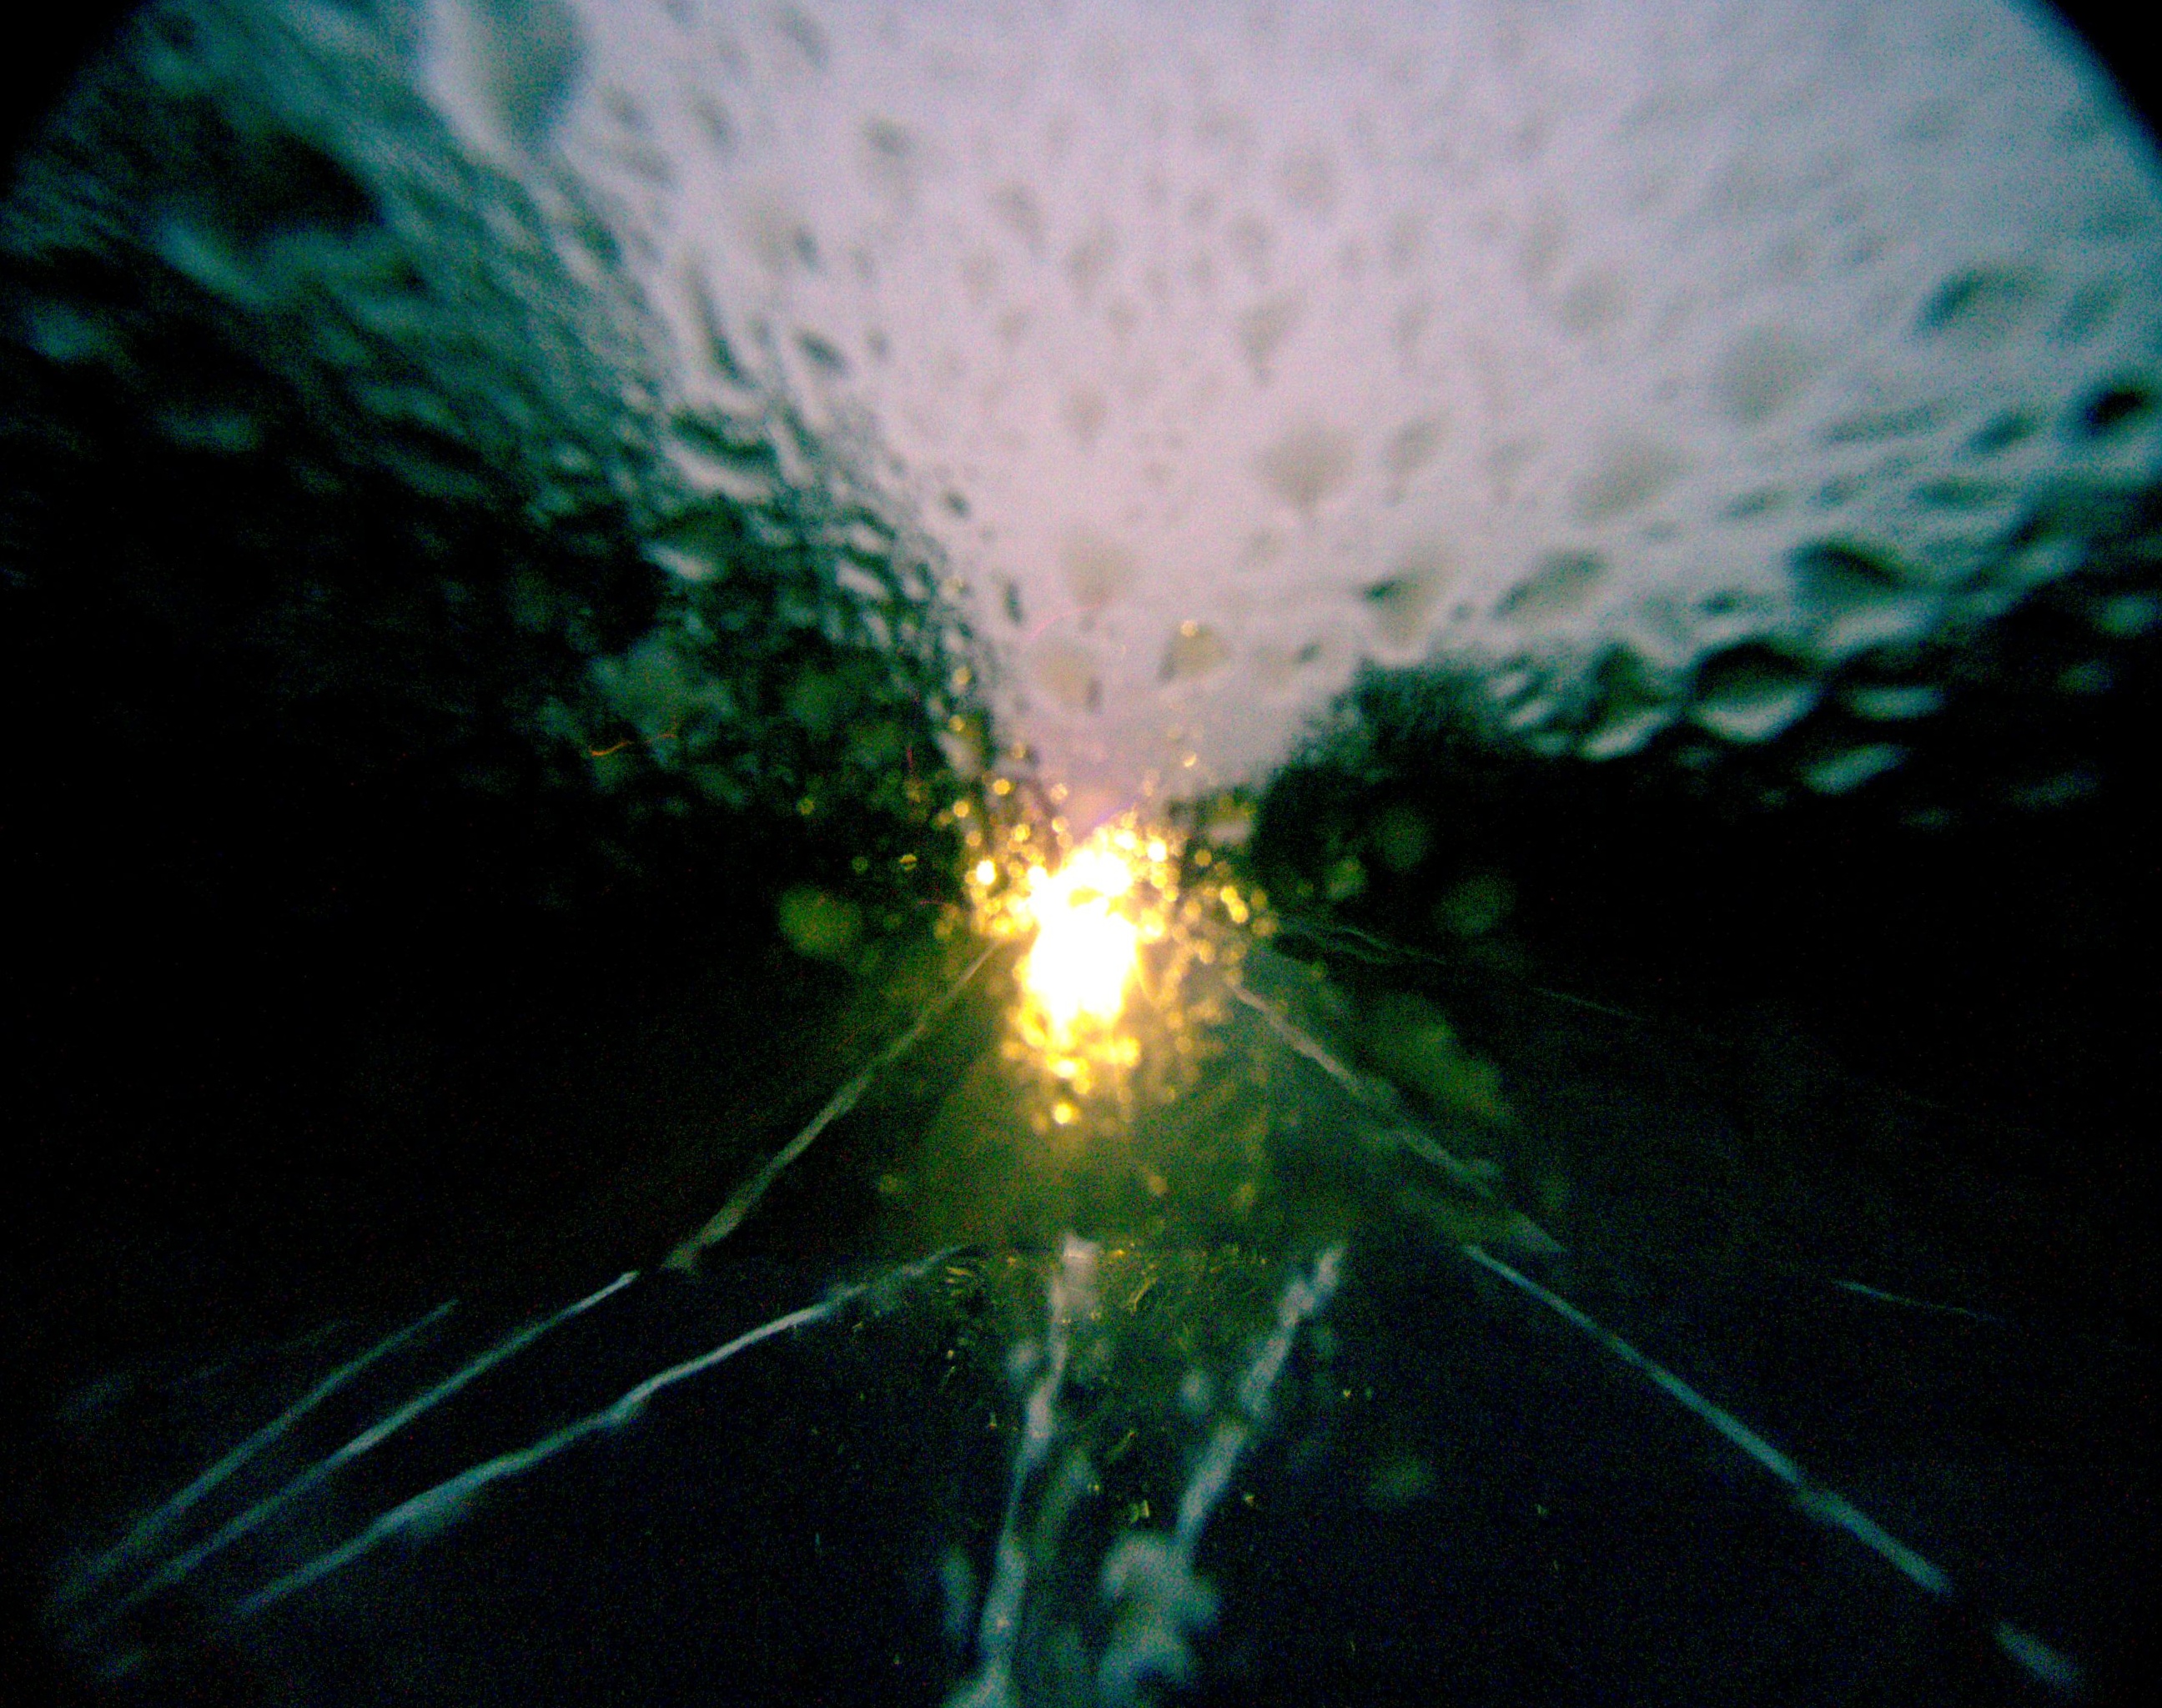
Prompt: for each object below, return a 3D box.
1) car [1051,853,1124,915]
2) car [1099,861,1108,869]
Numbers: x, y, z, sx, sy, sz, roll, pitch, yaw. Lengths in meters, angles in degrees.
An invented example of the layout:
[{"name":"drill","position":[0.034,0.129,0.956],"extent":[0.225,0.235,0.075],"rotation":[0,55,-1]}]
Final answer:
[{"name":"car","position":[0.180,0.848,23.213],"extent":[1.998,1.672,4.000],"rotation":[-2,0,0]},{"name":"car","position":[4.662,2.320,158.079],"extent":[1.698,1.551,4.130],"rotation":[-2,-1,1]}]
